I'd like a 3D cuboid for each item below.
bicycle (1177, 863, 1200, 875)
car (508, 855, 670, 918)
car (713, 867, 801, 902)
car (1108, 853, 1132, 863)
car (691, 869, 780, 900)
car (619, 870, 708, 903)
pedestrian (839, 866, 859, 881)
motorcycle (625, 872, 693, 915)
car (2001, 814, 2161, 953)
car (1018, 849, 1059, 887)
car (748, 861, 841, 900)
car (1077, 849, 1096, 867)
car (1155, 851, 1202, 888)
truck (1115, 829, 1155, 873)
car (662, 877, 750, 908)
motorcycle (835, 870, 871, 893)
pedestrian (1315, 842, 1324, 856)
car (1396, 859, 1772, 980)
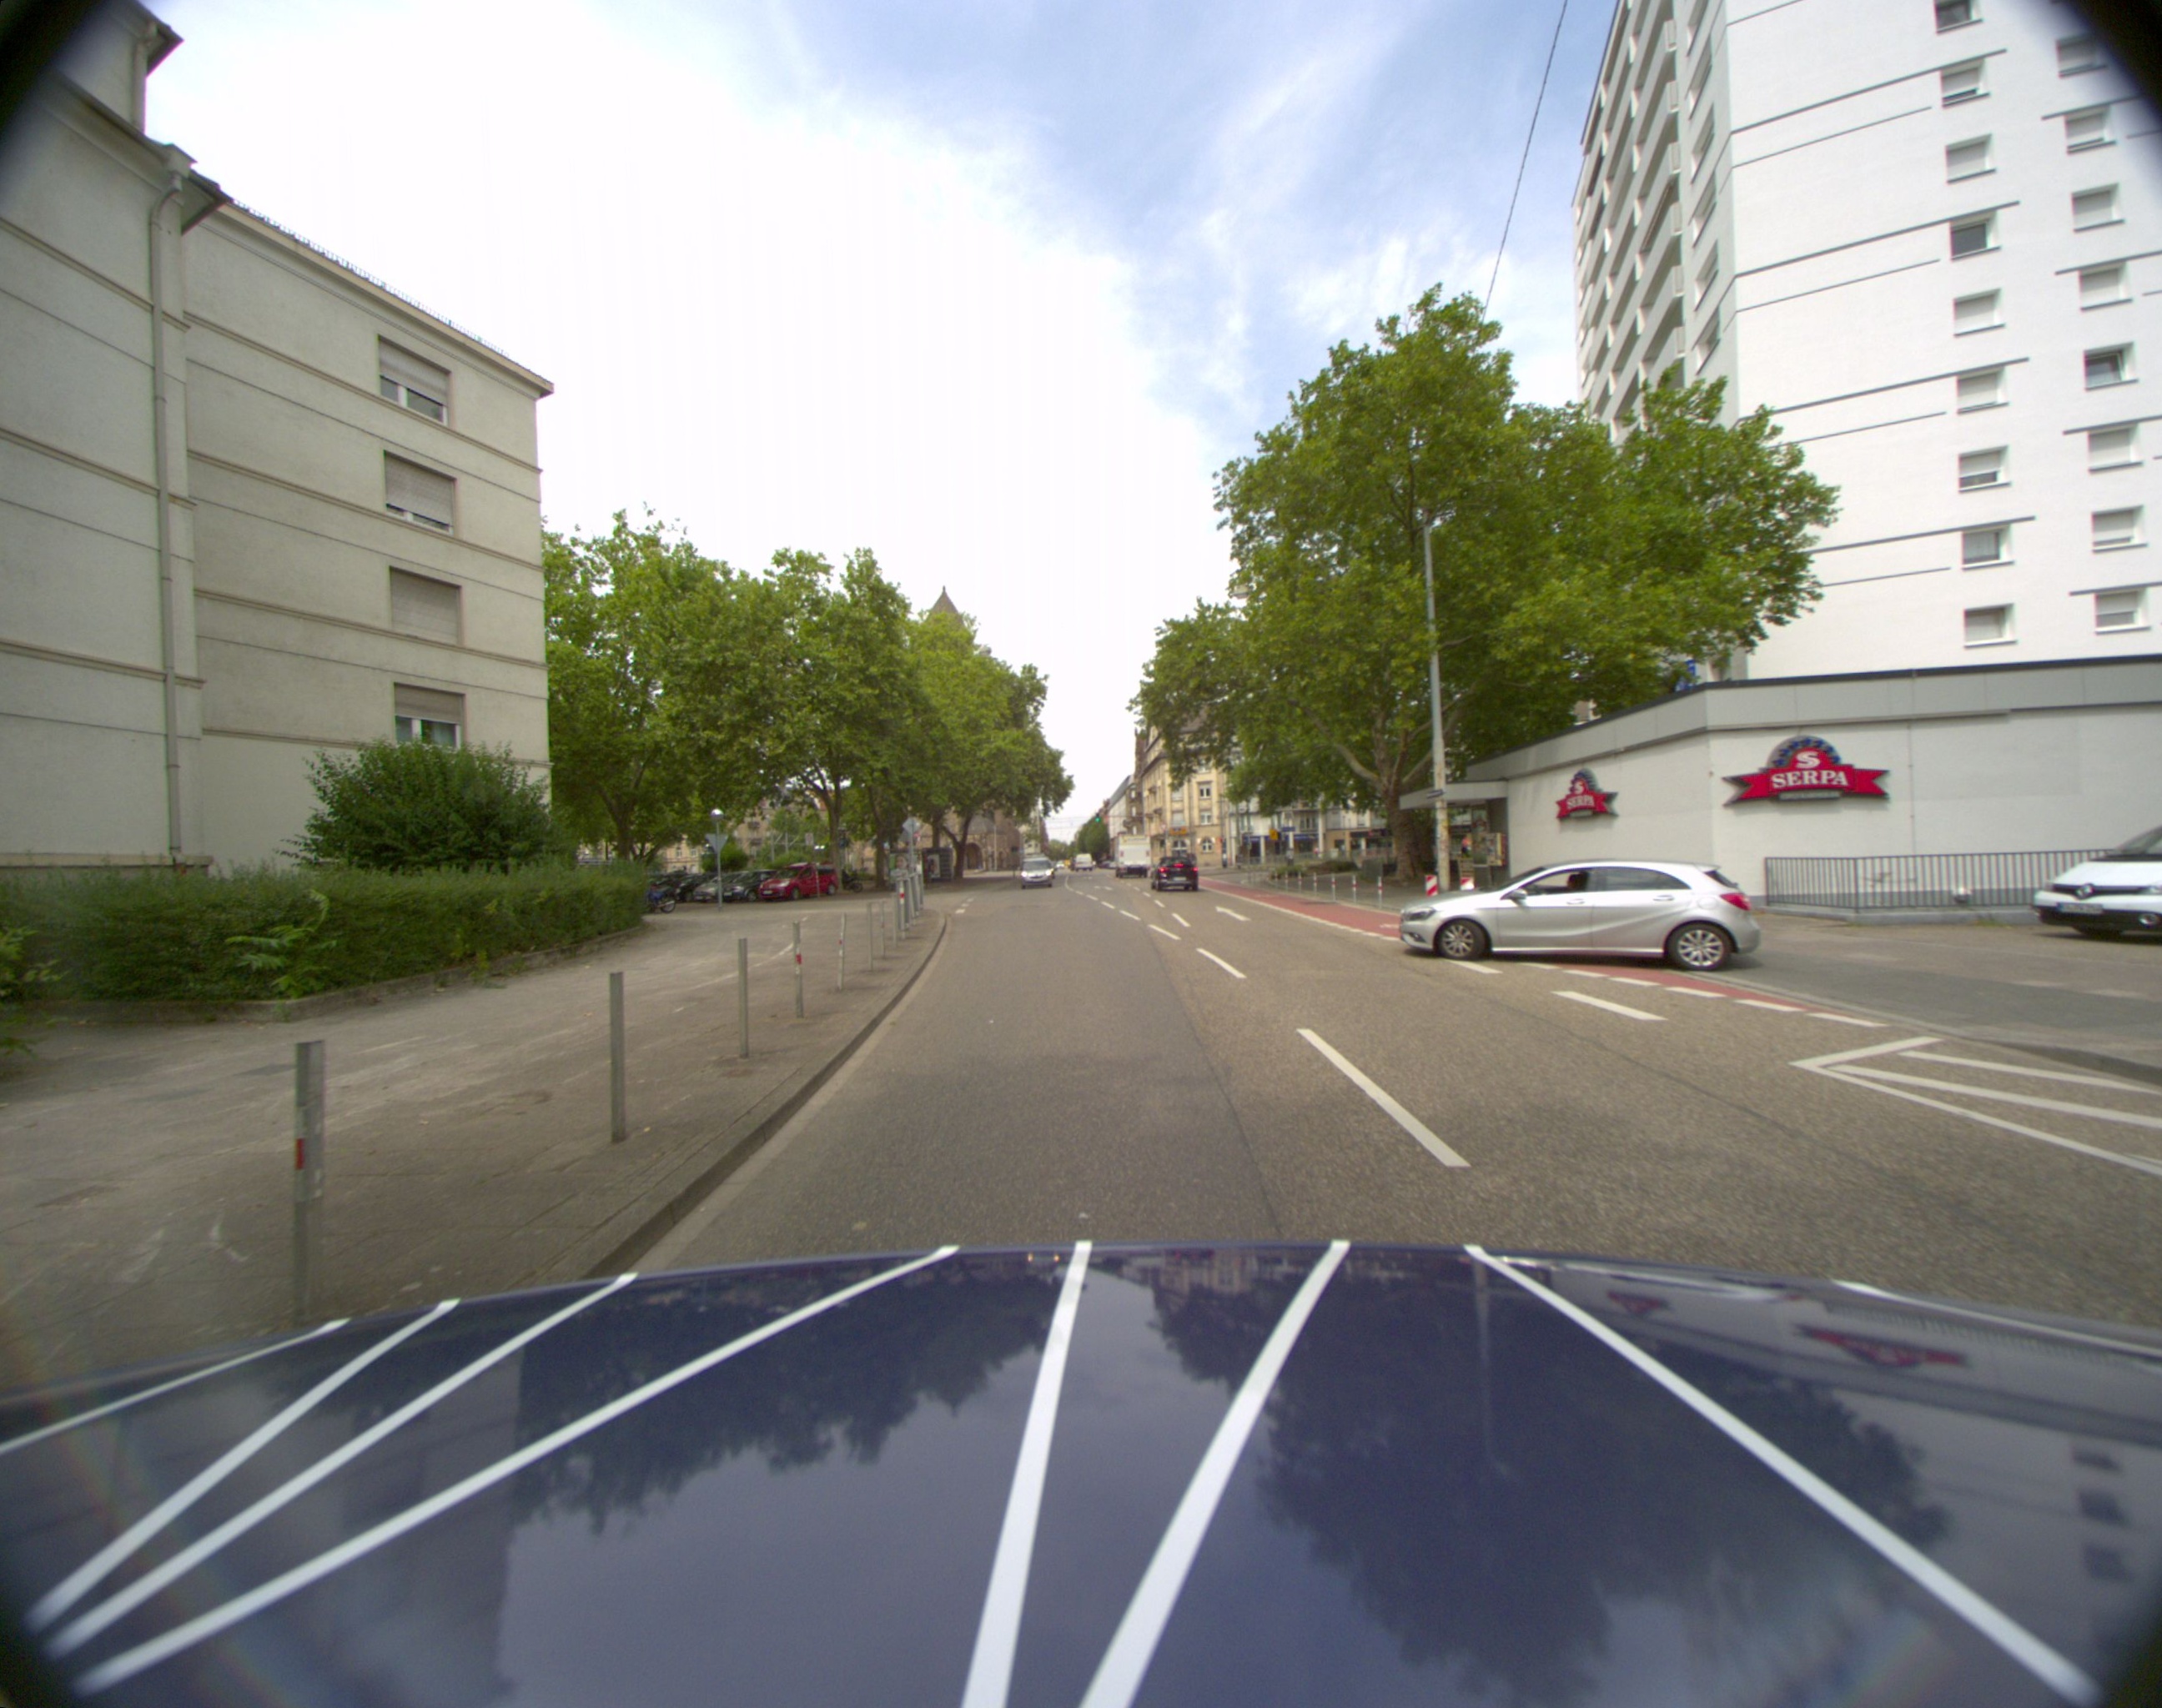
[{"bbox_3d":[9.939,1.409,70.294,1.966,1.088,0.628,0,0,18],"label":"bicycle"},{"bbox_3d":[-18.421,1.178,28.761,1.996,2.136,4.852,-3,-2,21],"label":"car"},{"bbox_3d":[-16.353,1.501,38.522,1.829,1.543,4.005,-2,0,19],"label":"car"},{"bbox_3d":[6.591,0.641,129.457,3.835,1.526,1.755,-1,-1,-40],"label":"car"},{"bbox_3d":[-18.263,1.594,40.400,1.747,1.455,4.191,-2,0,22],"label":"car"},{"bbox_3d":[-23.104,1.773,42.208,1.996,1.589,4.005,-2,0,19],"label":"car"},{"bbox_3d":[-19.340,1.626,63.393,1.096,1.206,1.142,-2,0,24],"label":"pedestrian"},{"bbox_3d":[-15.208,1.399,27.474,0.833,1.453,2.308,-2,-1,10],"label":"motorcycle"},{"bbox_3d":[15.396,0.313,9.651,4.639,1.676,1.851,-1,0,9],"label":"car"},{"bbox_3d":[-2.439,0.836,44.556,2.082,2.038,4.681,-2,-1,0],"label":"car"},{"bbox_3d":[-14.067,1.255,37.604,1.935,1.696,4.336,-2,0,18],"label":"car"},{"bbox_3d":[0.605,0.519,87.891,1.929,1.925,4.947,-3,-1,-2],"label":"car"},{"bbox_3d":[4.299,0.673,34.043,1.701,1.509,4.001,-1,0,2],"label":"car"},{"bbox_3d":[3.998,-0.191,57.669,2.547,3.089,7.020,0,0,0],"label":"truck"},{"bbox_3d":[-20.384,2.061,41.435,1.996,1.455,4.005,-2,0,19],"label":"car"},{"bbox_3d":[-12.960,1.541,43.285,1.859,1.215,0.531,-2,-1,-4],"label":"motorcycle"},{"bbox_3d":[27.390,-0.538,87.154,0.837,1.543,0.869,-2,1,22],"label":"pedestrian"},{"bbox_3d":[6.858,0.843,10.914,4.174,1.442,1.852,-1,0,26],"label":"car"}]
